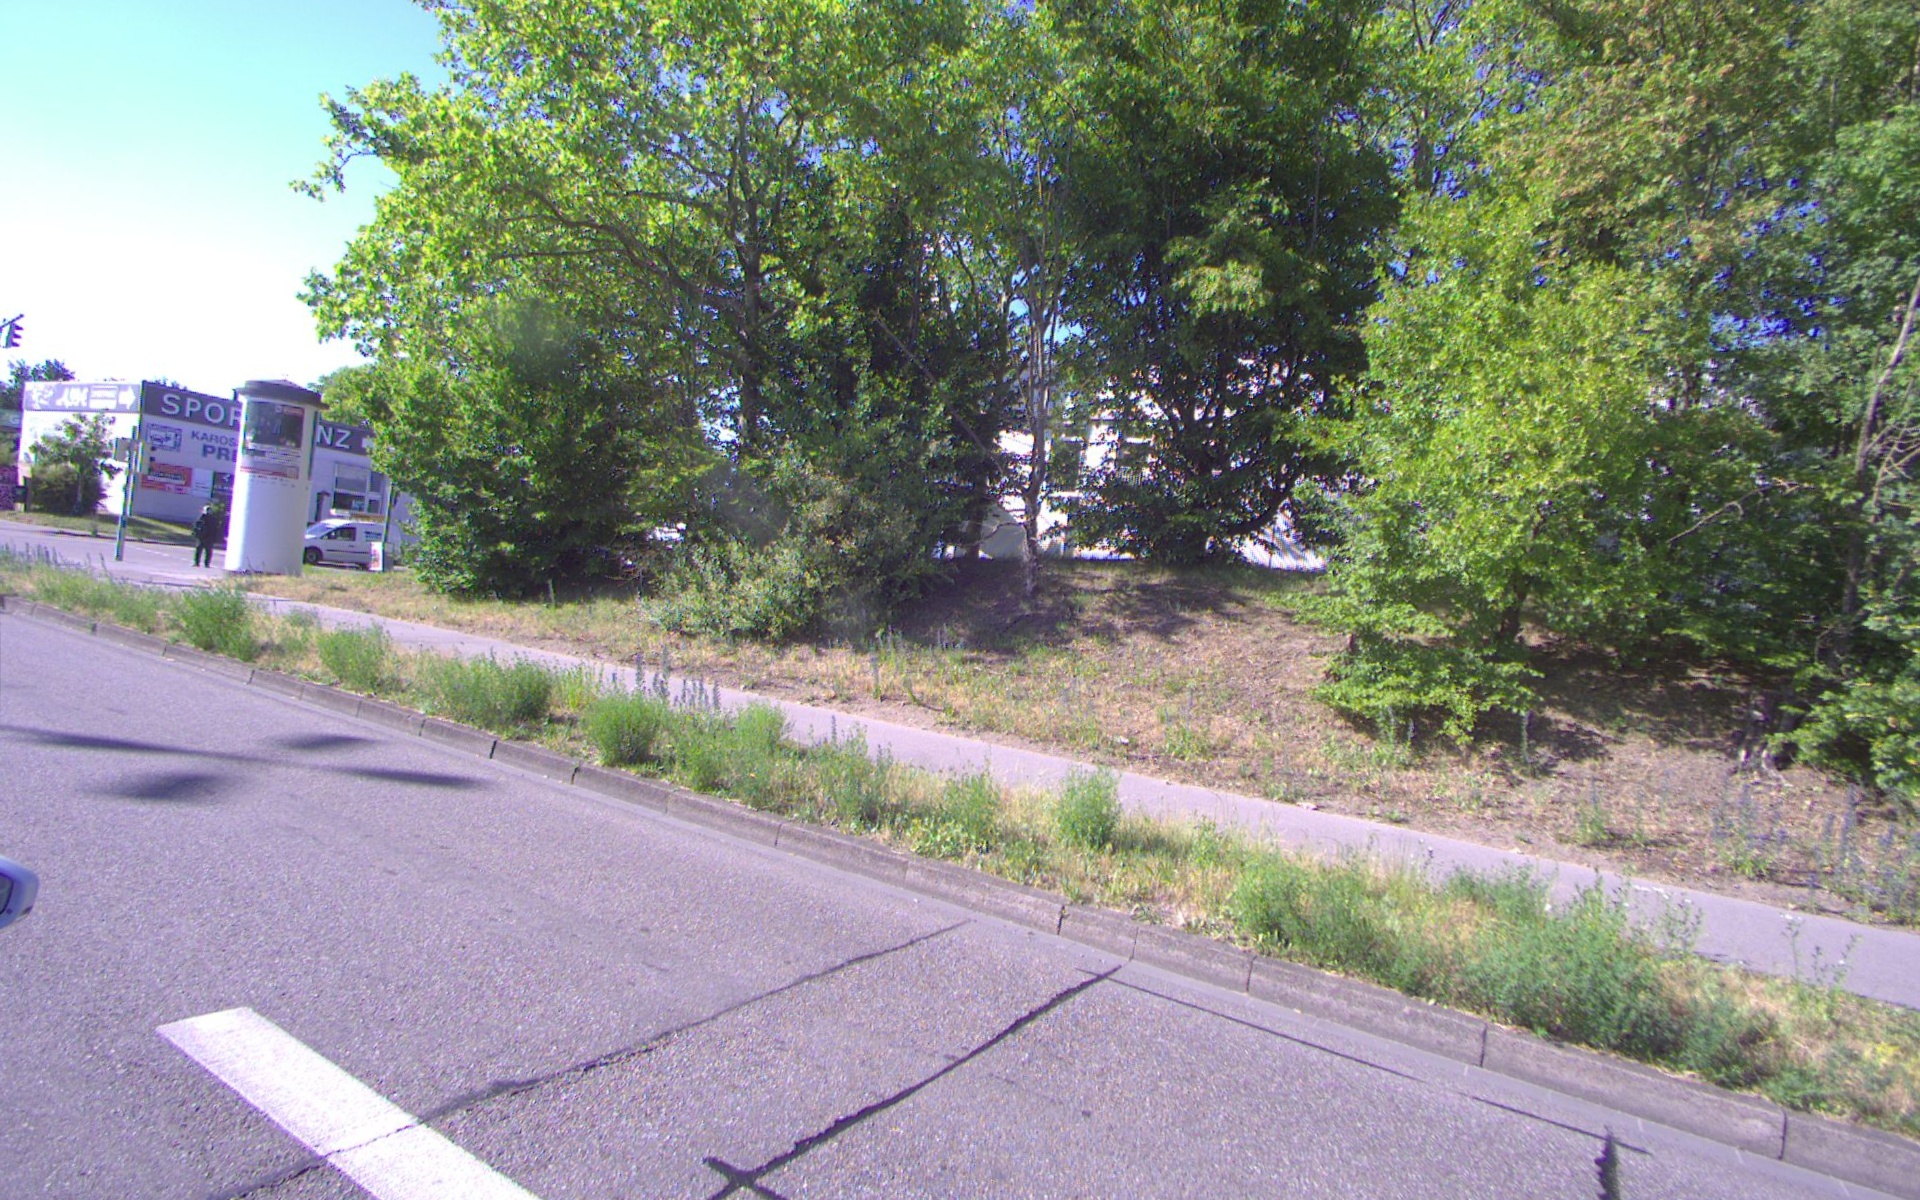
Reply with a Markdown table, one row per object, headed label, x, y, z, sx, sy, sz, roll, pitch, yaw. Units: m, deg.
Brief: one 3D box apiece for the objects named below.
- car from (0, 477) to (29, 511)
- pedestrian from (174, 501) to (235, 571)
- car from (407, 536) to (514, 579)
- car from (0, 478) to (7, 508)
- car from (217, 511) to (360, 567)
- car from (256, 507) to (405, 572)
| label | x | y | z | sx | sy | sz | roll | pitch | yaw |
| --- | --- | --- | --- | --- | --- | --- | --- | --- | --- |
| car | -46.883 | -5.224 | 47.091 | 1.828 | 1.472 | 4.490 | 7 | 1 | 33 |
| pedestrian | -21.022 | -1.772 | 28.003 | 0.923 | 1.755 | 0.927 | 6 | -1 | 31 |
| car | -22.993 | -1.945 | 46.422 | 1.752 | 1.509 | 4.046 | 7 | 1 | 30 |
| car | -49.234 | -5.491 | 48.460 | 1.828 | 1.472 | 4.490 | 7 | 1 | 33 |
| car | -26.614 | -2.380 | 40.011 | 1.735 | 1.568 | 4.292 | 9 | 1 | 30 |
| car | -23.811 | -2.253 | 38.217 | 1.735 | 1.824 | 4.387 | 9 | 1 | 30 |
